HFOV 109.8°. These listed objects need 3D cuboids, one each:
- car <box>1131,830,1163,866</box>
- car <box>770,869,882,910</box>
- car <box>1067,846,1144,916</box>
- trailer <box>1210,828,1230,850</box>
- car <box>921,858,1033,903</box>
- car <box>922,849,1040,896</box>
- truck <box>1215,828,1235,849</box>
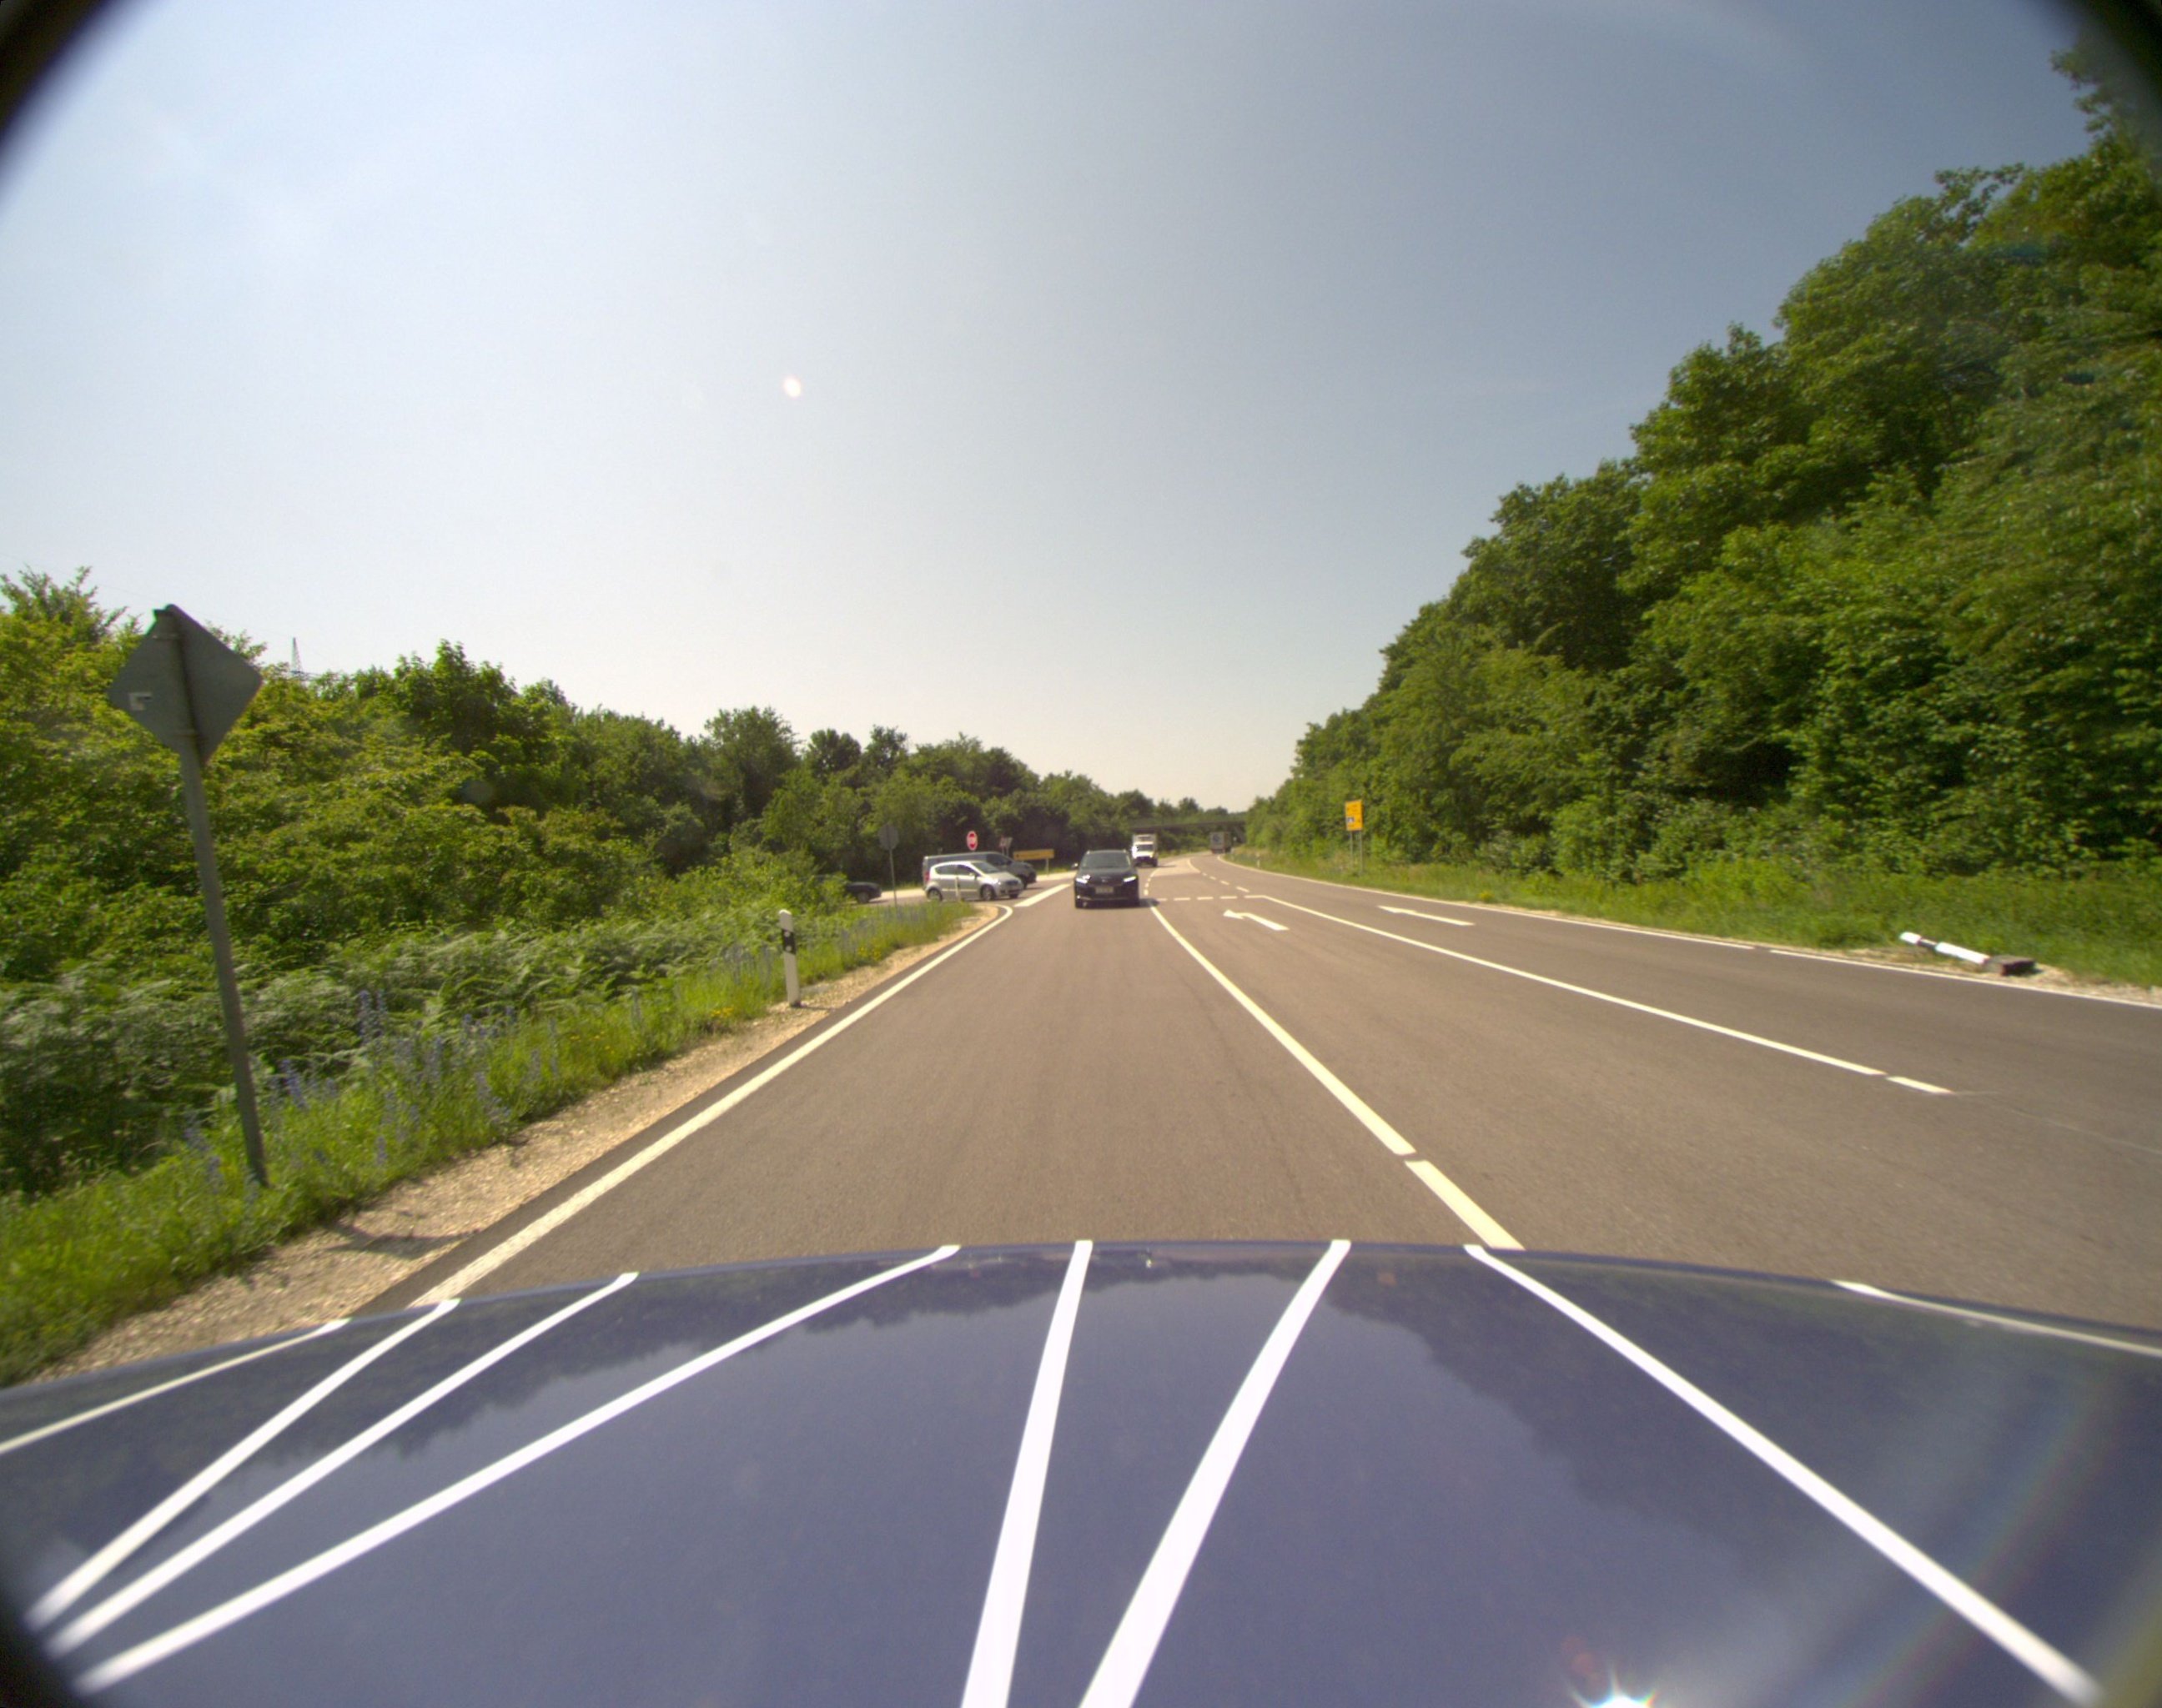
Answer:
[{"bbox_3d":[5.934,-0.590,68.735,2.591,3.047,6.882,-2,1,5],"label":"car"},{"bbox_3d":[-11.341,1.528,33.920,4.567,1.465,1.865,-3,1,-19],"label":"car"},{"bbox_3d":[0.800,0.670,22.392,1.924,1.711,5.479,-2,1,3],"label":"car"},{"bbox_3d":[26.970,-2.906,147.073,2.832,4.072,9.010,-2,1,16],"label":"trailer"},{"bbox_3d":[-4.051,1.021,29.485,3.984,1.570,1.849,-3,-1,30],"label":"car"},{"bbox_3d":[-4.731,0.819,35.684,5.232,1.896,2.011,-3,1,-14],"label":"car"},{"bbox_3d":[29.499,-3.098,155.682,2.802,4.072,11.074,-2,1,16],"label":"truck"}]
